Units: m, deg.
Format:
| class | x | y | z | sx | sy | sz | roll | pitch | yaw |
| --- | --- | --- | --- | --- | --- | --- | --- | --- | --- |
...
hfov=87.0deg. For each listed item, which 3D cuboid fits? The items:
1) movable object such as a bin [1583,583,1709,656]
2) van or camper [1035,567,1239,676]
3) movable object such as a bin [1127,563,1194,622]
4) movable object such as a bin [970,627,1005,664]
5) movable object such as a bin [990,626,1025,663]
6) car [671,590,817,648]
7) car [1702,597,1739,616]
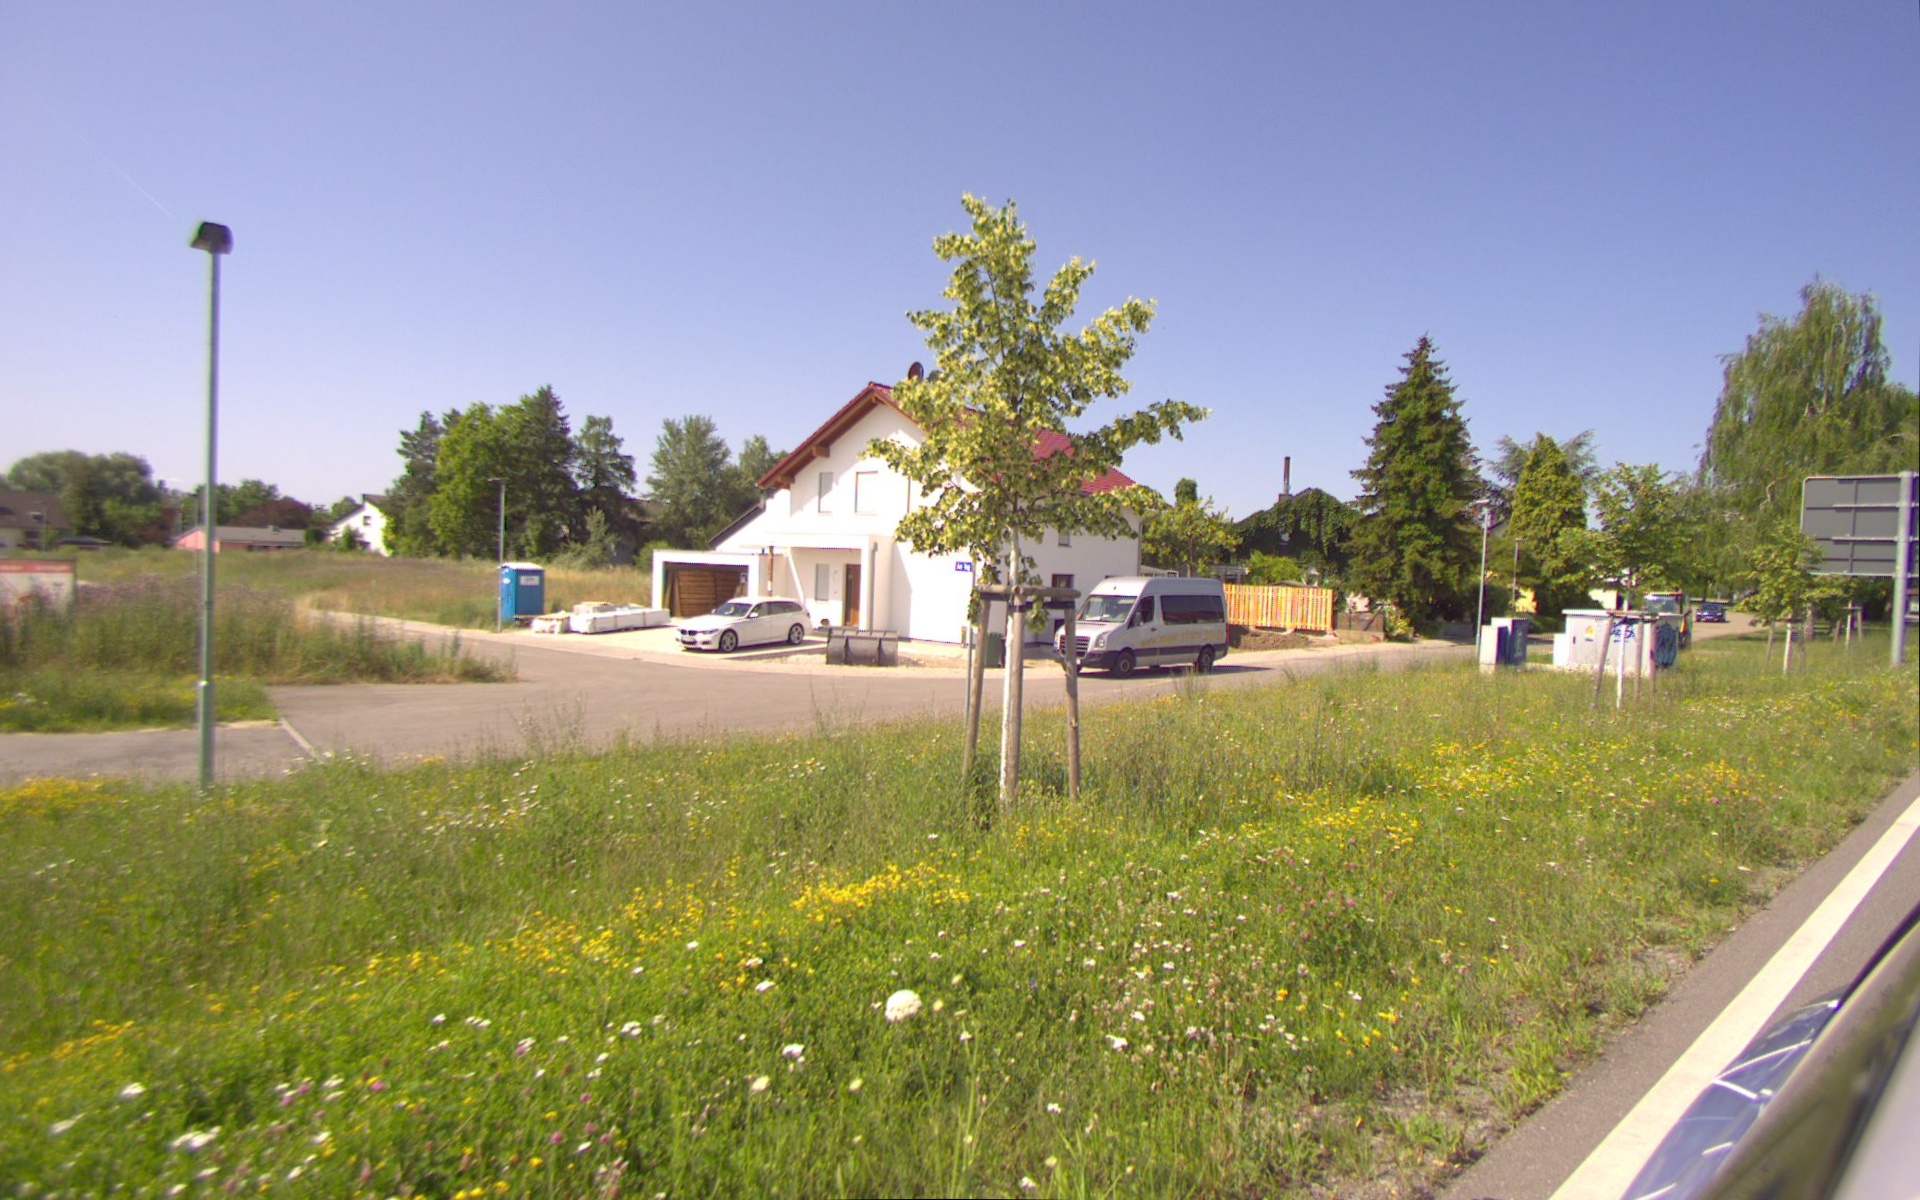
| class | x | y | z | sx | sy | sz | roll | pitch | yaw |
| --- | --- | --- | --- | --- | --- | --- | --- | --- | --- |
| movable object such as a bin | 26.135 | 0.644 | 38.419 | 6.825 | 2.493 | 2.320 | 0 | 2 | -42 |
| van or camper | 4.897 | 0.463 | 27.329 | 5.926 | 2.633 | 2.176 | -1 | 2 | -41 |
| movable object such as a bin | 9.238 | -0.351 | 46.602 | 2.838 | 2.589 | 1.779 | 2 | 1 | 16 |
| movable object such as a bin | 0.752 | 1.215 | 27.302 | 0.626 | 0.949 | 0.694 | 1 | 1 | -37 |
| movable object such as a bin | 1.292 | 1.211 | 27.715 | 0.626 | 0.949 | 0.694 | 1 | 1 | -37 |
| car | -6.326 | 0.509 | 30.089 | 1.553 | 1.577 | 4.433 | 1 | 1 | 34 |
| car | 61.544 | 0.484 | 81.830 | 1.859 | 1.463 | 4.101 | 1 | 1 | 45 |
